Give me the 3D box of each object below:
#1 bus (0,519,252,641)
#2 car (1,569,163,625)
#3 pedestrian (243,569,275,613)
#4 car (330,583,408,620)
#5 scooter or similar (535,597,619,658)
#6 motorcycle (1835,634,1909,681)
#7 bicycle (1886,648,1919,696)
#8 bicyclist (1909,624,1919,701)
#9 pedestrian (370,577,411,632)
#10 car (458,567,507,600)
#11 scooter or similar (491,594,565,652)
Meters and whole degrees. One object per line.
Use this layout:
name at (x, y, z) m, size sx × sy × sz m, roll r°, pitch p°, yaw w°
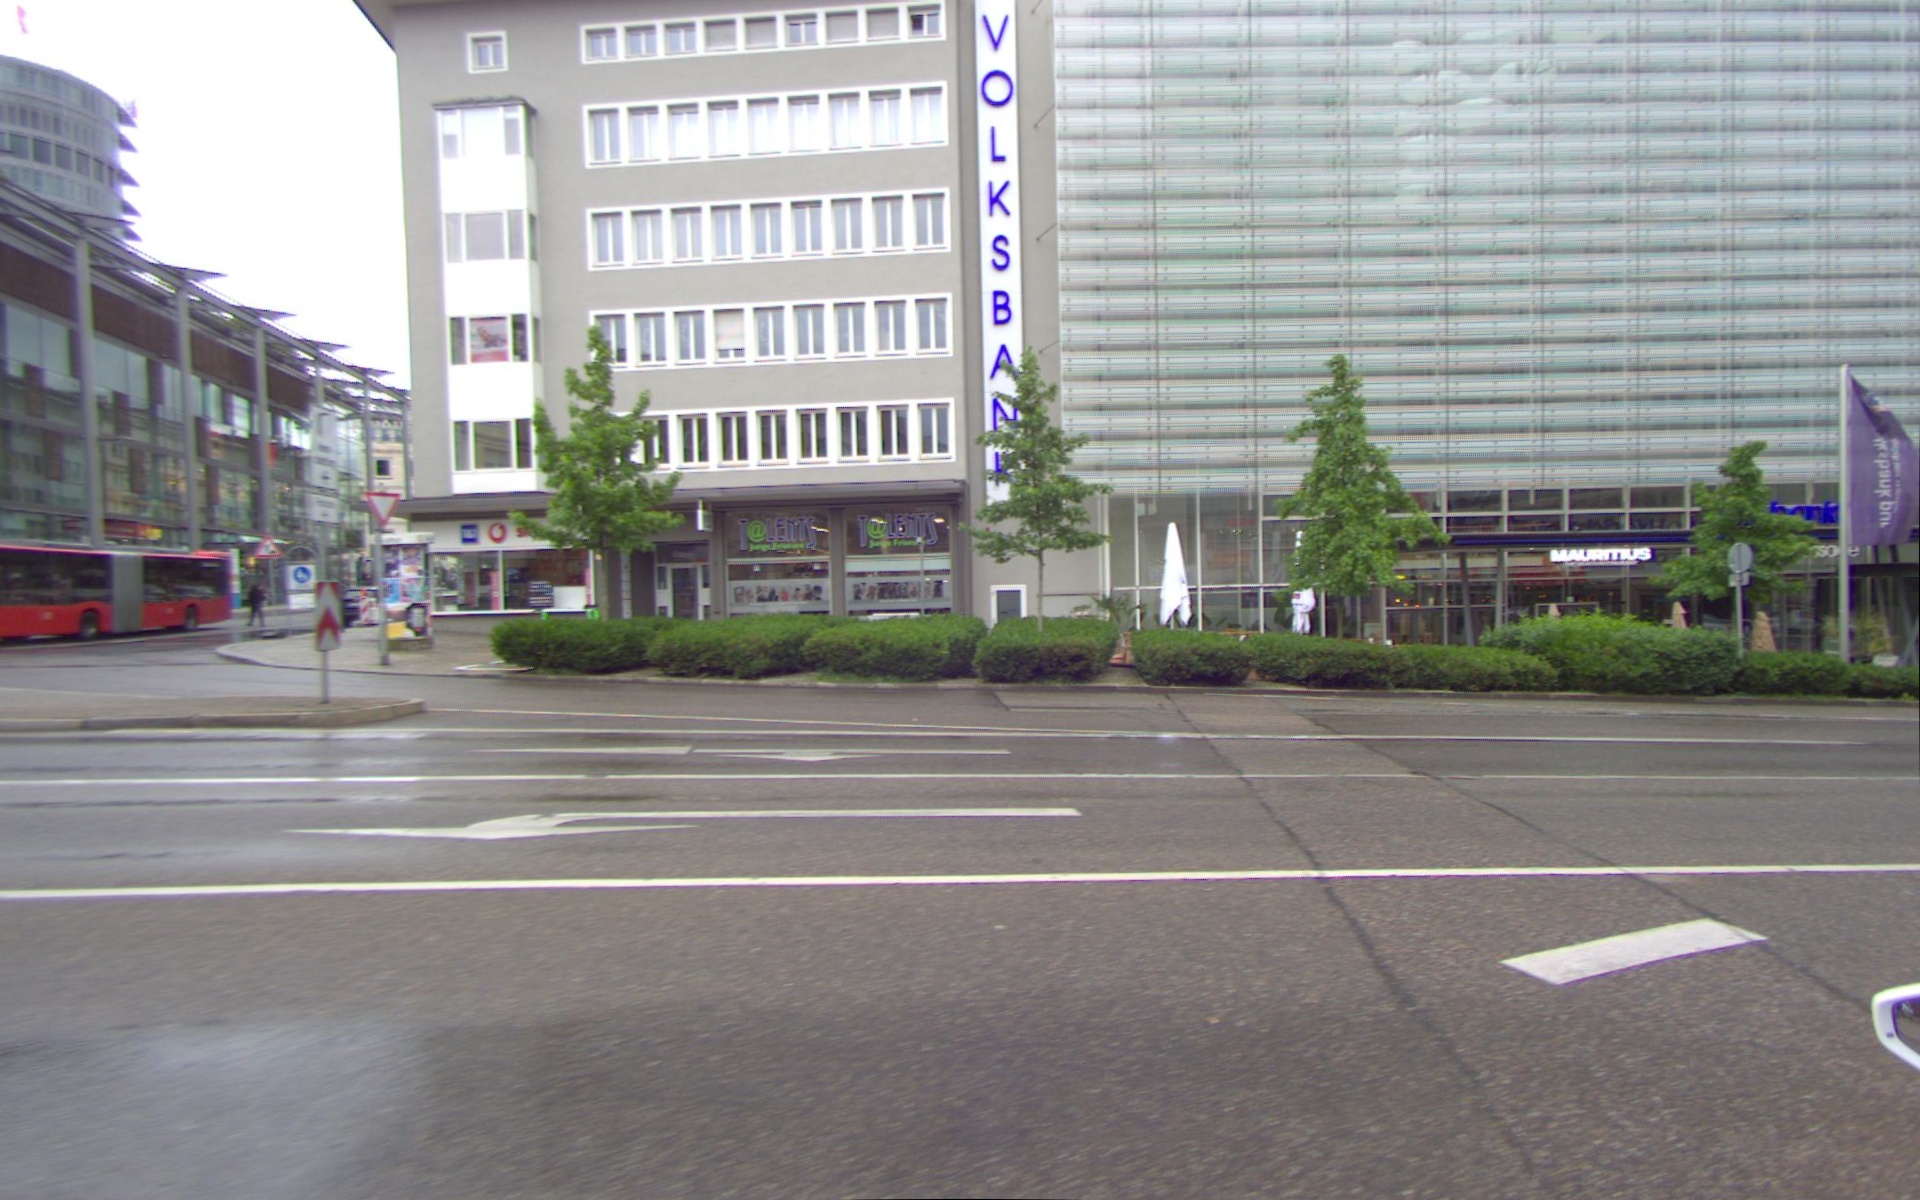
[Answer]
bus at (-28.946, -0.556, 32.246) m, size 2.878 × 3.365 × 18.439 m, roll 0°, pitch 0°, yaw -11°
car at (-35.478, -0.122, 40.897) m, size 2.410 × 2.103 × 5.893 m, roll 1°, pitch 0°, yaw -13°
pedestrian at (-29.731, -0.370, 42.635) m, size 0.889 × 1.827 × 0.627 m, roll 1°, pitch 0°, yaw -6°
car at (-26.106, 0.042, 44.505) m, size 1.712 × 1.548 × 3.992 m, roll 1°, pitch 0°, yaw -10°
scooter or similar at (-8.774, 0.619, 23.045) m, size 1.471 × 1.274 × 0.931 m, roll 1°, pitch 7°, yaw 8°
motorcycle at (27.720, 1.735, 30.554) m, size 0.754 × 1.313 × 1.551 m, roll 1°, pitch 1°, yaw -2°
bicycle at (23.562, 1.755, 24.049) m, size 2.029 × 1.114 × 0.681 m, roll 2°, pitch 0°, yaw 4°
bicyclist at (23.558, 1.513, 24.048) m, size 0.970 × 1.854 × 0.671 m, roll 2°, pitch 0°, yaw 4°
pedestrian at (-18.834, 0.148, 33.249) m, size 1.009 × 1.799 × 0.797 m, roll 1°, pitch 0°, yaw -18°
car at (-28.317, -0.928, 59.698) m, size 1.835 × 1.850 × 4.092 m, roll 1°, pitch 0°, yaw -14°
scooter or similar at (-9.214, 0.492, 21.440) m, size 1.356 × 1.203 × 0.544 m, roll -1°, pitch 0°, yaw 8°
